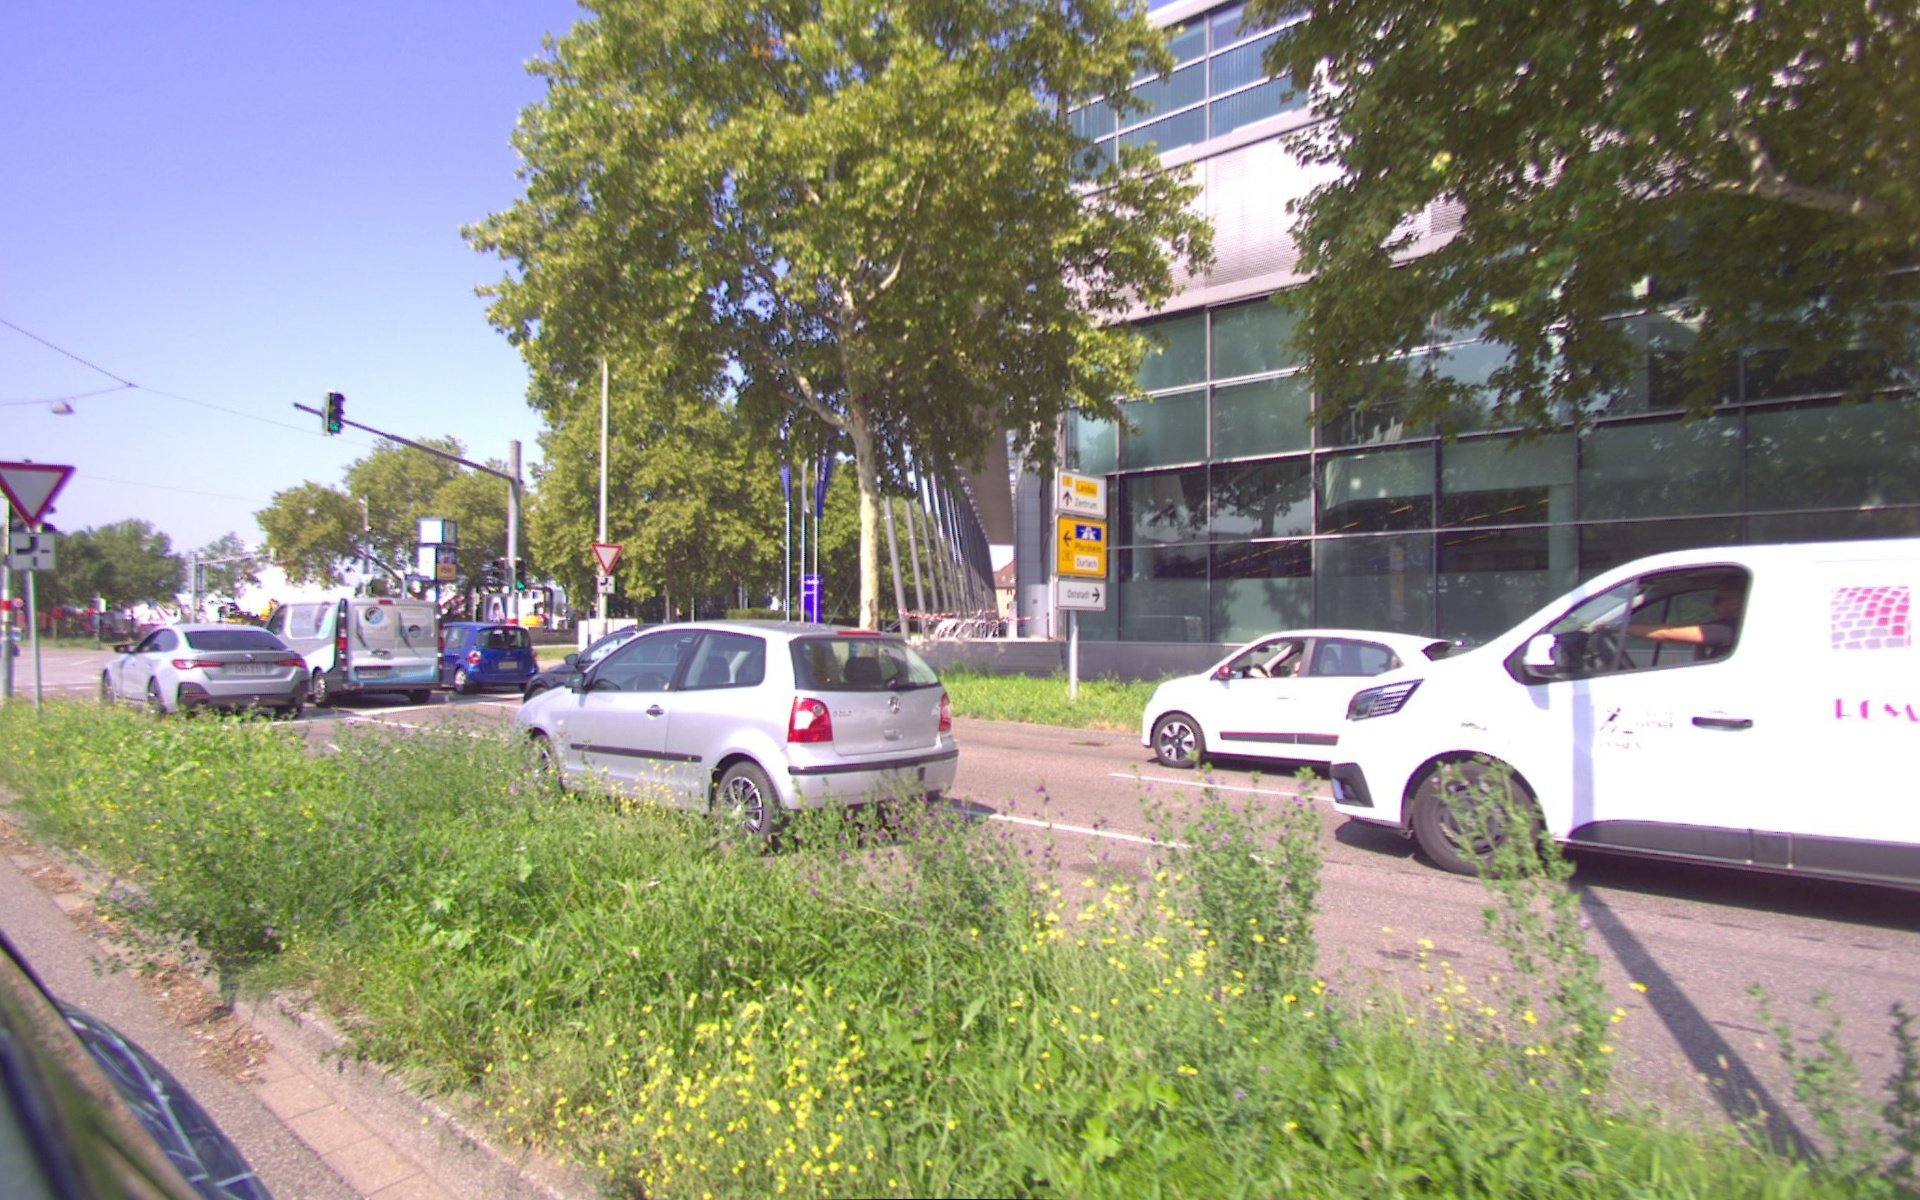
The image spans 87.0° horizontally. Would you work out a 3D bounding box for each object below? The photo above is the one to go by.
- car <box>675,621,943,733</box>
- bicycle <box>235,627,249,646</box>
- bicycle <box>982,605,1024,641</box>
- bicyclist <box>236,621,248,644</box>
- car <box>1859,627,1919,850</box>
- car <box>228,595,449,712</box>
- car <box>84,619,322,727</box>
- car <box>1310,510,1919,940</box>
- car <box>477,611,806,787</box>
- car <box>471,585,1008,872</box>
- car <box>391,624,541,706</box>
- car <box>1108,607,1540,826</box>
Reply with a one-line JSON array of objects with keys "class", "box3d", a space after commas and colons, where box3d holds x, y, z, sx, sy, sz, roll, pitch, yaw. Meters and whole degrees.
[{"class": "car", "box3d": [-2.477, 1.143, 16.084, 4.253, 1.522, 1.762, 0, -4, 38]}, {"class": "bicycle", "box3d": [-43.076, 2.178, 60.721, 0.563, 1.064, 1.498, -2, -2, -30]}, {"class": "bicycle", "box3d": [2.593, 1.354, 60.423, 2.388, 2.029, 0.689, -3, -2, 4]}, {"class": "bicyclist", "box3d": [-43.051, 1.941, 60.687, 0.494, 1.375, 0.698, -1, -2, -28]}, {"class": "car", "box3d": [8.984, 0.985, 6.108, 5.207, 1.522, 1.762, 0, -3, 39]}, {"class": "car", "box3d": [-11.974, 0.995, 19.363, 5.206, 1.973, 1.908, -2, -3, 38]}, {"class": "car", "box3d": [-11.897, 1.069, 15.801, 4.600, 1.454, 1.817, -1, -4, 39]}, {"class": "car", "box3d": [4.838, 0.625, 5.561, 5.186, 1.975, 1.907, -1, -4, 41]}, {"class": "car", "box3d": [-4.201, 1.111, 12.923, 4.699, 1.863, 1.700, -1, -4, 40]}, {"class": "car", "box3d": [-1.774, 0.798, 7.412, 4.096, 1.547, 1.598, -2, -5, 39]}, {"class": "car", "box3d": [-11.192, 1.402, 22.835, 3.728, 1.546, 1.650, 2, -1, 41]}, {"class": "car", "box3d": [3.806, 1.083, 10.840, 3.971, 1.910, 1.908, -1, -4, 38]}]
